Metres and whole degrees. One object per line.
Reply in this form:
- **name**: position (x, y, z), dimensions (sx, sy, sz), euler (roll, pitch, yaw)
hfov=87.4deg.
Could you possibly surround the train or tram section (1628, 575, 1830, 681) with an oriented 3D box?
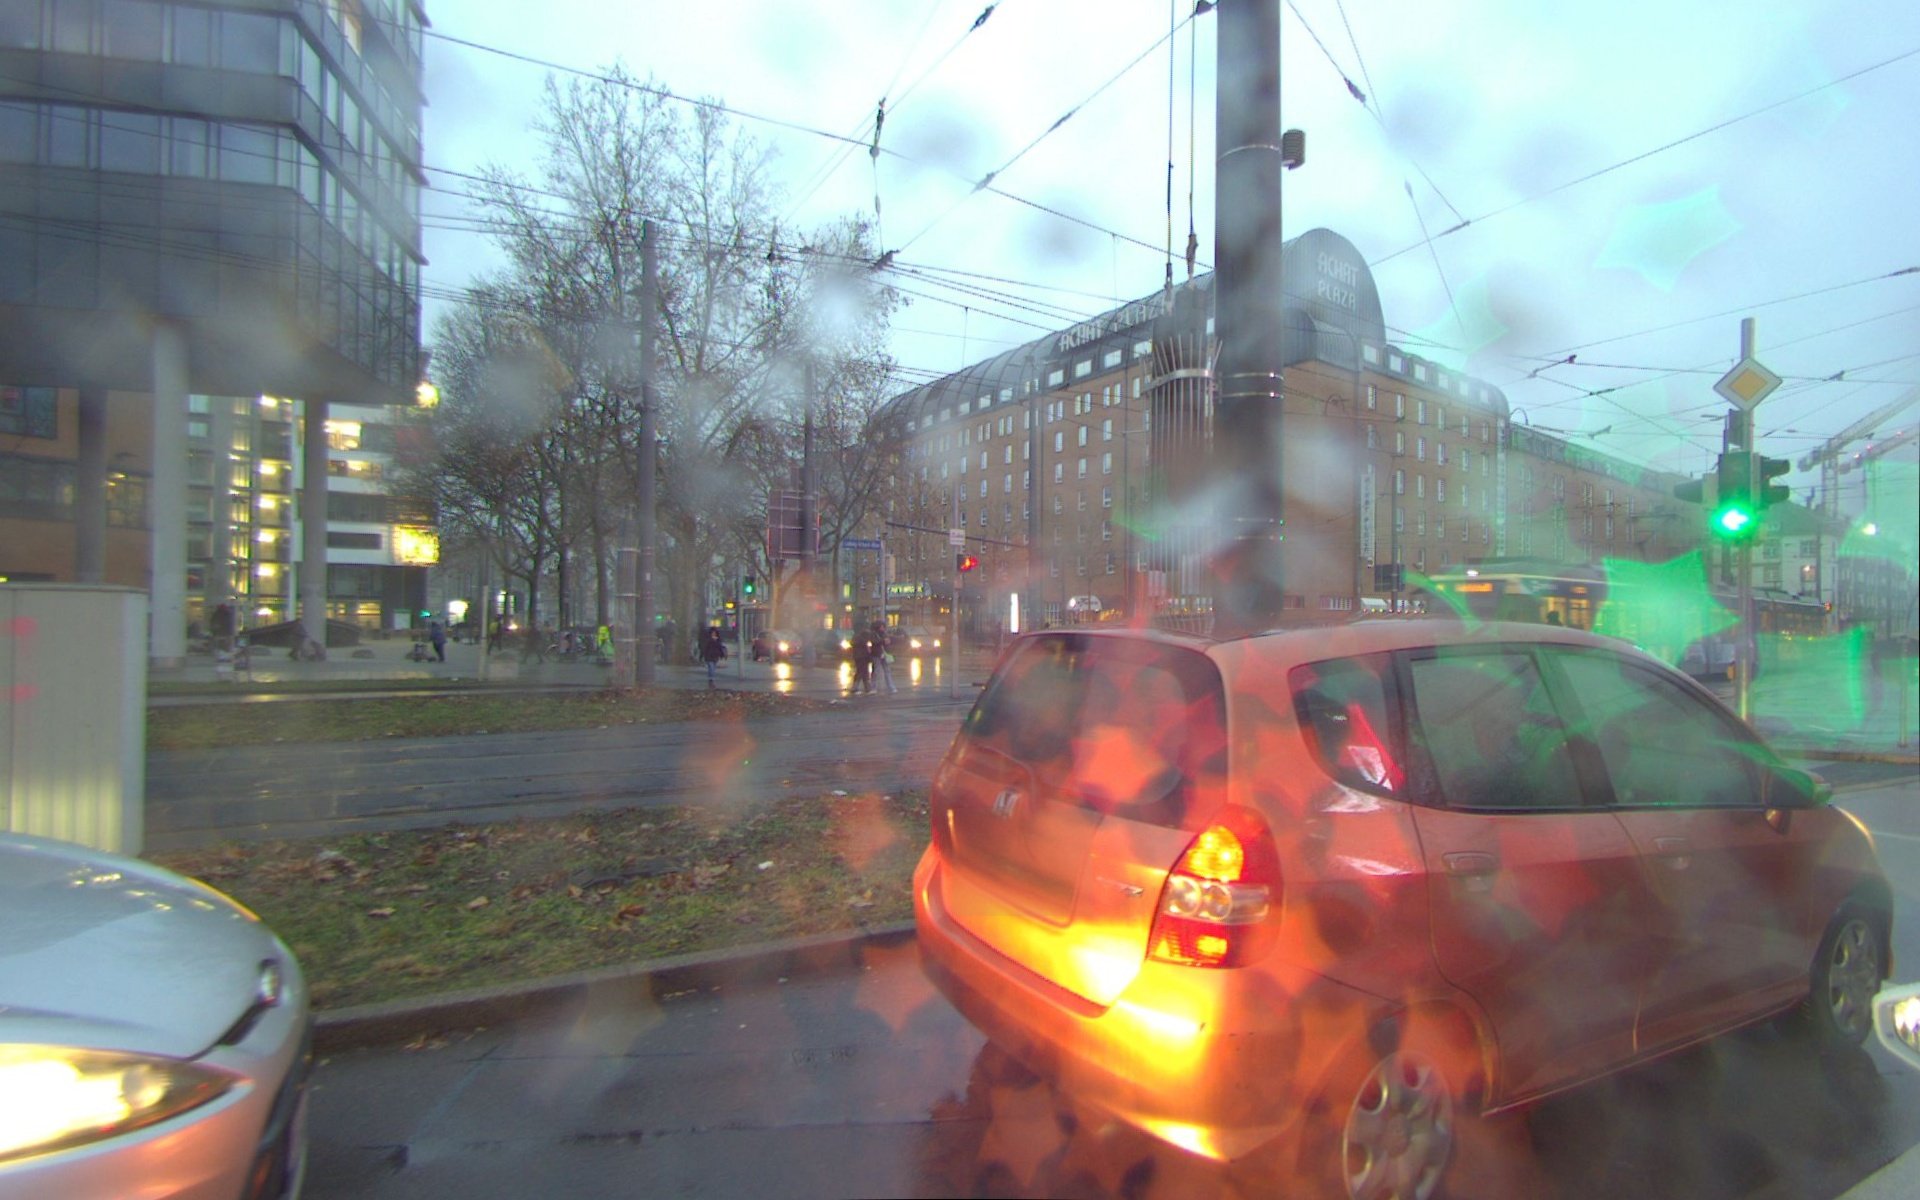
- **train or tram section**: position (32.626, 1.239, 41.955), dimensions (19.061, 3.662, 2.840), euler (2, -2, -41)

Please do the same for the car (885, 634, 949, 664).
- **car**: position (-2.306, 2.565, 52.875), dimensions (1.974, 1.446, 3.974), euler (1, -1, -26)

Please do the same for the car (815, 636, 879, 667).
- **car**: position (-5.746, 2.546, 50.636), dimensions (1.974, 1.446, 3.974), euler (1, -1, -26)

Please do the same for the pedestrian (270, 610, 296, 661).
- **pedestrian**: position (-23.808, 1.248, 35.345), dimensions (0.628, 1.797, 0.569), euler (1, -2, -24)

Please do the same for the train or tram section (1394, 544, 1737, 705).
- **train or tram section**: position (19.257, 0.834, 30.419), dimensions (19.912, 3.662, 2.840), euler (2, -2, -41)

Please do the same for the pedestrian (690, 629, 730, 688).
- **pedestrian**: position (-6.544, 1.517, 26.295), dimensions (0.666, 1.519, 0.734), euler (-1, -1, 40)

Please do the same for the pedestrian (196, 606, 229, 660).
- **pedestrian**: position (-26.647, 1.177, 35.818), dimensions (0.561, 1.888, 0.736), euler (0, -2, 6)

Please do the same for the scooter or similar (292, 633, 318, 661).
- **scooter or similar**: position (-23.215, 1.654, 35.602), dimensions (0.657, 0.973, 0.550), euler (1, -2, -24)

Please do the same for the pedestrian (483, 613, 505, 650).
- **pedestrian**: position (-22.748, 1.544, 49.060), dimensions (0.721, 1.783, 0.819), euler (1, -2, -8)

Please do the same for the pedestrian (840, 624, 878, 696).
- **pedestrian**: position (-2.195, 1.291, 21.867), dimensions (0.638, 1.532, 0.558), euler (1, -1, -32)

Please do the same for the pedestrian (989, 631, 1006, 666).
- **pedestrian**: position (1.915, 2.460, 51.141), dimensions (0.622, 1.781, 0.566), euler (-1, -2, 33)

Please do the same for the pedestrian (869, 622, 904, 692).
- **pedestrian**: position (-1.630, 1.256, 22.240), dimensions (0.607, 1.532, 0.517), euler (1, -1, -30)

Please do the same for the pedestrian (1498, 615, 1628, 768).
- **pedestrian**: position (6.664, 0.998, 11.146), dimensions (1.016, 1.621, 0.716), euler (-1, -3, 12)

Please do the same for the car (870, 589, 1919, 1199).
- **car**: position (1.718, 0.778, 3.573), dimensions (3.713, 1.478, 1.690), euler (1, -2, -30)

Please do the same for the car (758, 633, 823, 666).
- **car**: position (-8.142, 2.329, 47.989), dimensions (1.974, 1.446, 3.974), euler (1, -1, -26)

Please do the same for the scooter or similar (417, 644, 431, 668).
- **scooter or similar**: position (-20.070, 2.087, 37.609), dimensions (0.426, 0.861, 0.550), euler (1, -2, -24)

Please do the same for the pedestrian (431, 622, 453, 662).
- **pedestrian**: position (-19.515, 1.572, 37.854), dimensions (0.675, 1.478, 0.569), euler (1, -2, -24)

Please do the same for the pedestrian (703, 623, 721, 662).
- **pedestrian**: position (-10.913, 1.866, 44.138), dimensions (0.679, 1.728, 0.526), euler (1, -2, -6)

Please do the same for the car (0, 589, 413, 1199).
- **car**: position (-2.991, 0.686, 1.301), dimensions (3.953, 1.467, 1.697), euler (2, 0, -30)

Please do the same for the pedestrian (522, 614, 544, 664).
- **pedestrian**: position (-16.209, 1.469, 38.104), dimensions (0.725, 1.888, 0.569), euler (1, -2, -24)

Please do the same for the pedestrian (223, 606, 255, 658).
- **pedestrian**: position (-26.508, 1.183, 36.954), dimensions (0.561, 1.888, 0.736), euler (0, -2, 5)

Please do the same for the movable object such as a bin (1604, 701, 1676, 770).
- **movable object such as a bin**: position (7.445, 1.480, 11.013), dimensions (0.527, 0.708, 0.413), euler (0, -3, 11)
